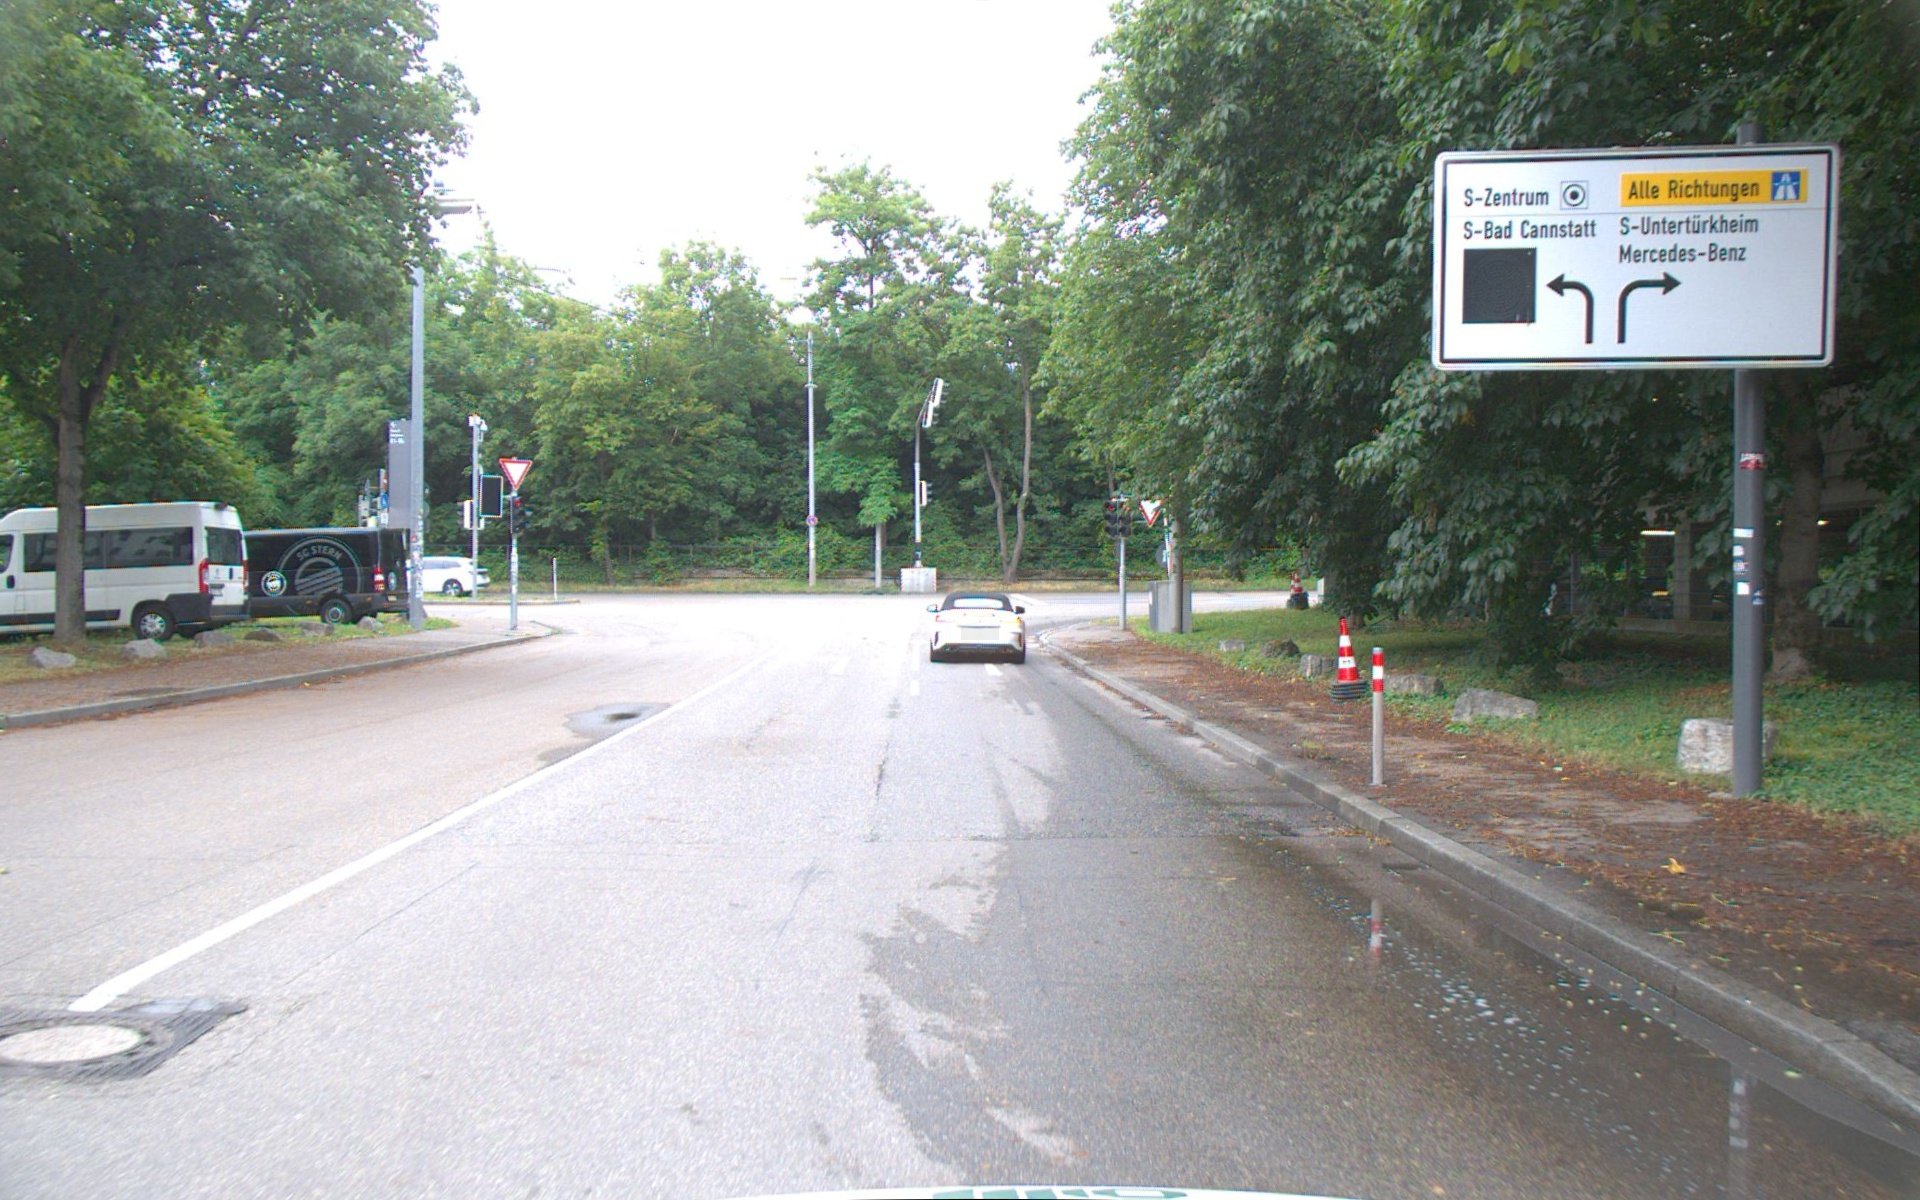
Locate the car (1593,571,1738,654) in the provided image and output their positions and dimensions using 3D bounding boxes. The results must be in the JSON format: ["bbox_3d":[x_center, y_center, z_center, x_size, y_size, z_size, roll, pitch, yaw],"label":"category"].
[{"bbox_3d":[15.626,0.296,36.813,1.548,1.738,3.768,1,-1,-1],"label":"car"}]

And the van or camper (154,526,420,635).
[{"bbox_3d":[-15.916,-0.427,39.306,5.422,2.354,2.061,-2,-1,0],"label":"van or camper"}]

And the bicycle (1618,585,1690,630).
[{"bbox_3d":[12.047,0.140,28.729,0.438,0.749,1.493,1,-1,-9],"label":"bicycle"}]

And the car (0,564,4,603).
[{"bbox_3d":[-37.331,-0.639,60.983,3.235,1.446,1.499,1,-1,-2],"label":"car"}]

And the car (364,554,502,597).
[{"bbox_3d":[-19.806,-0.919,62.325,4.583,1.481,1.897,1,-1,-6],"label":"car"}]

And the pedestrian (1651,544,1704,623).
[{"bbox_3d":[12.417,-0.274,28.626,0.627,1.340,0.636,1,-1,-2],"label":"pedestrian"}]

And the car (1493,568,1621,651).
[{"bbox_3d":[13.261,0.237,36.944,1.450,1.738,3.718,1,-1,-1],"label":"car"}]

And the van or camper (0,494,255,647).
[{"bbox_3d":[-15.728,-0.515,30.038,4.872,2.615,2.060,1,-1,-4],"label":"van or camper"}]

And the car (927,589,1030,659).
[{"bbox_3d":[0.307,0.478,32.836,1.791,1.279,3.997,1,-1,-3],"label":"car"}]
